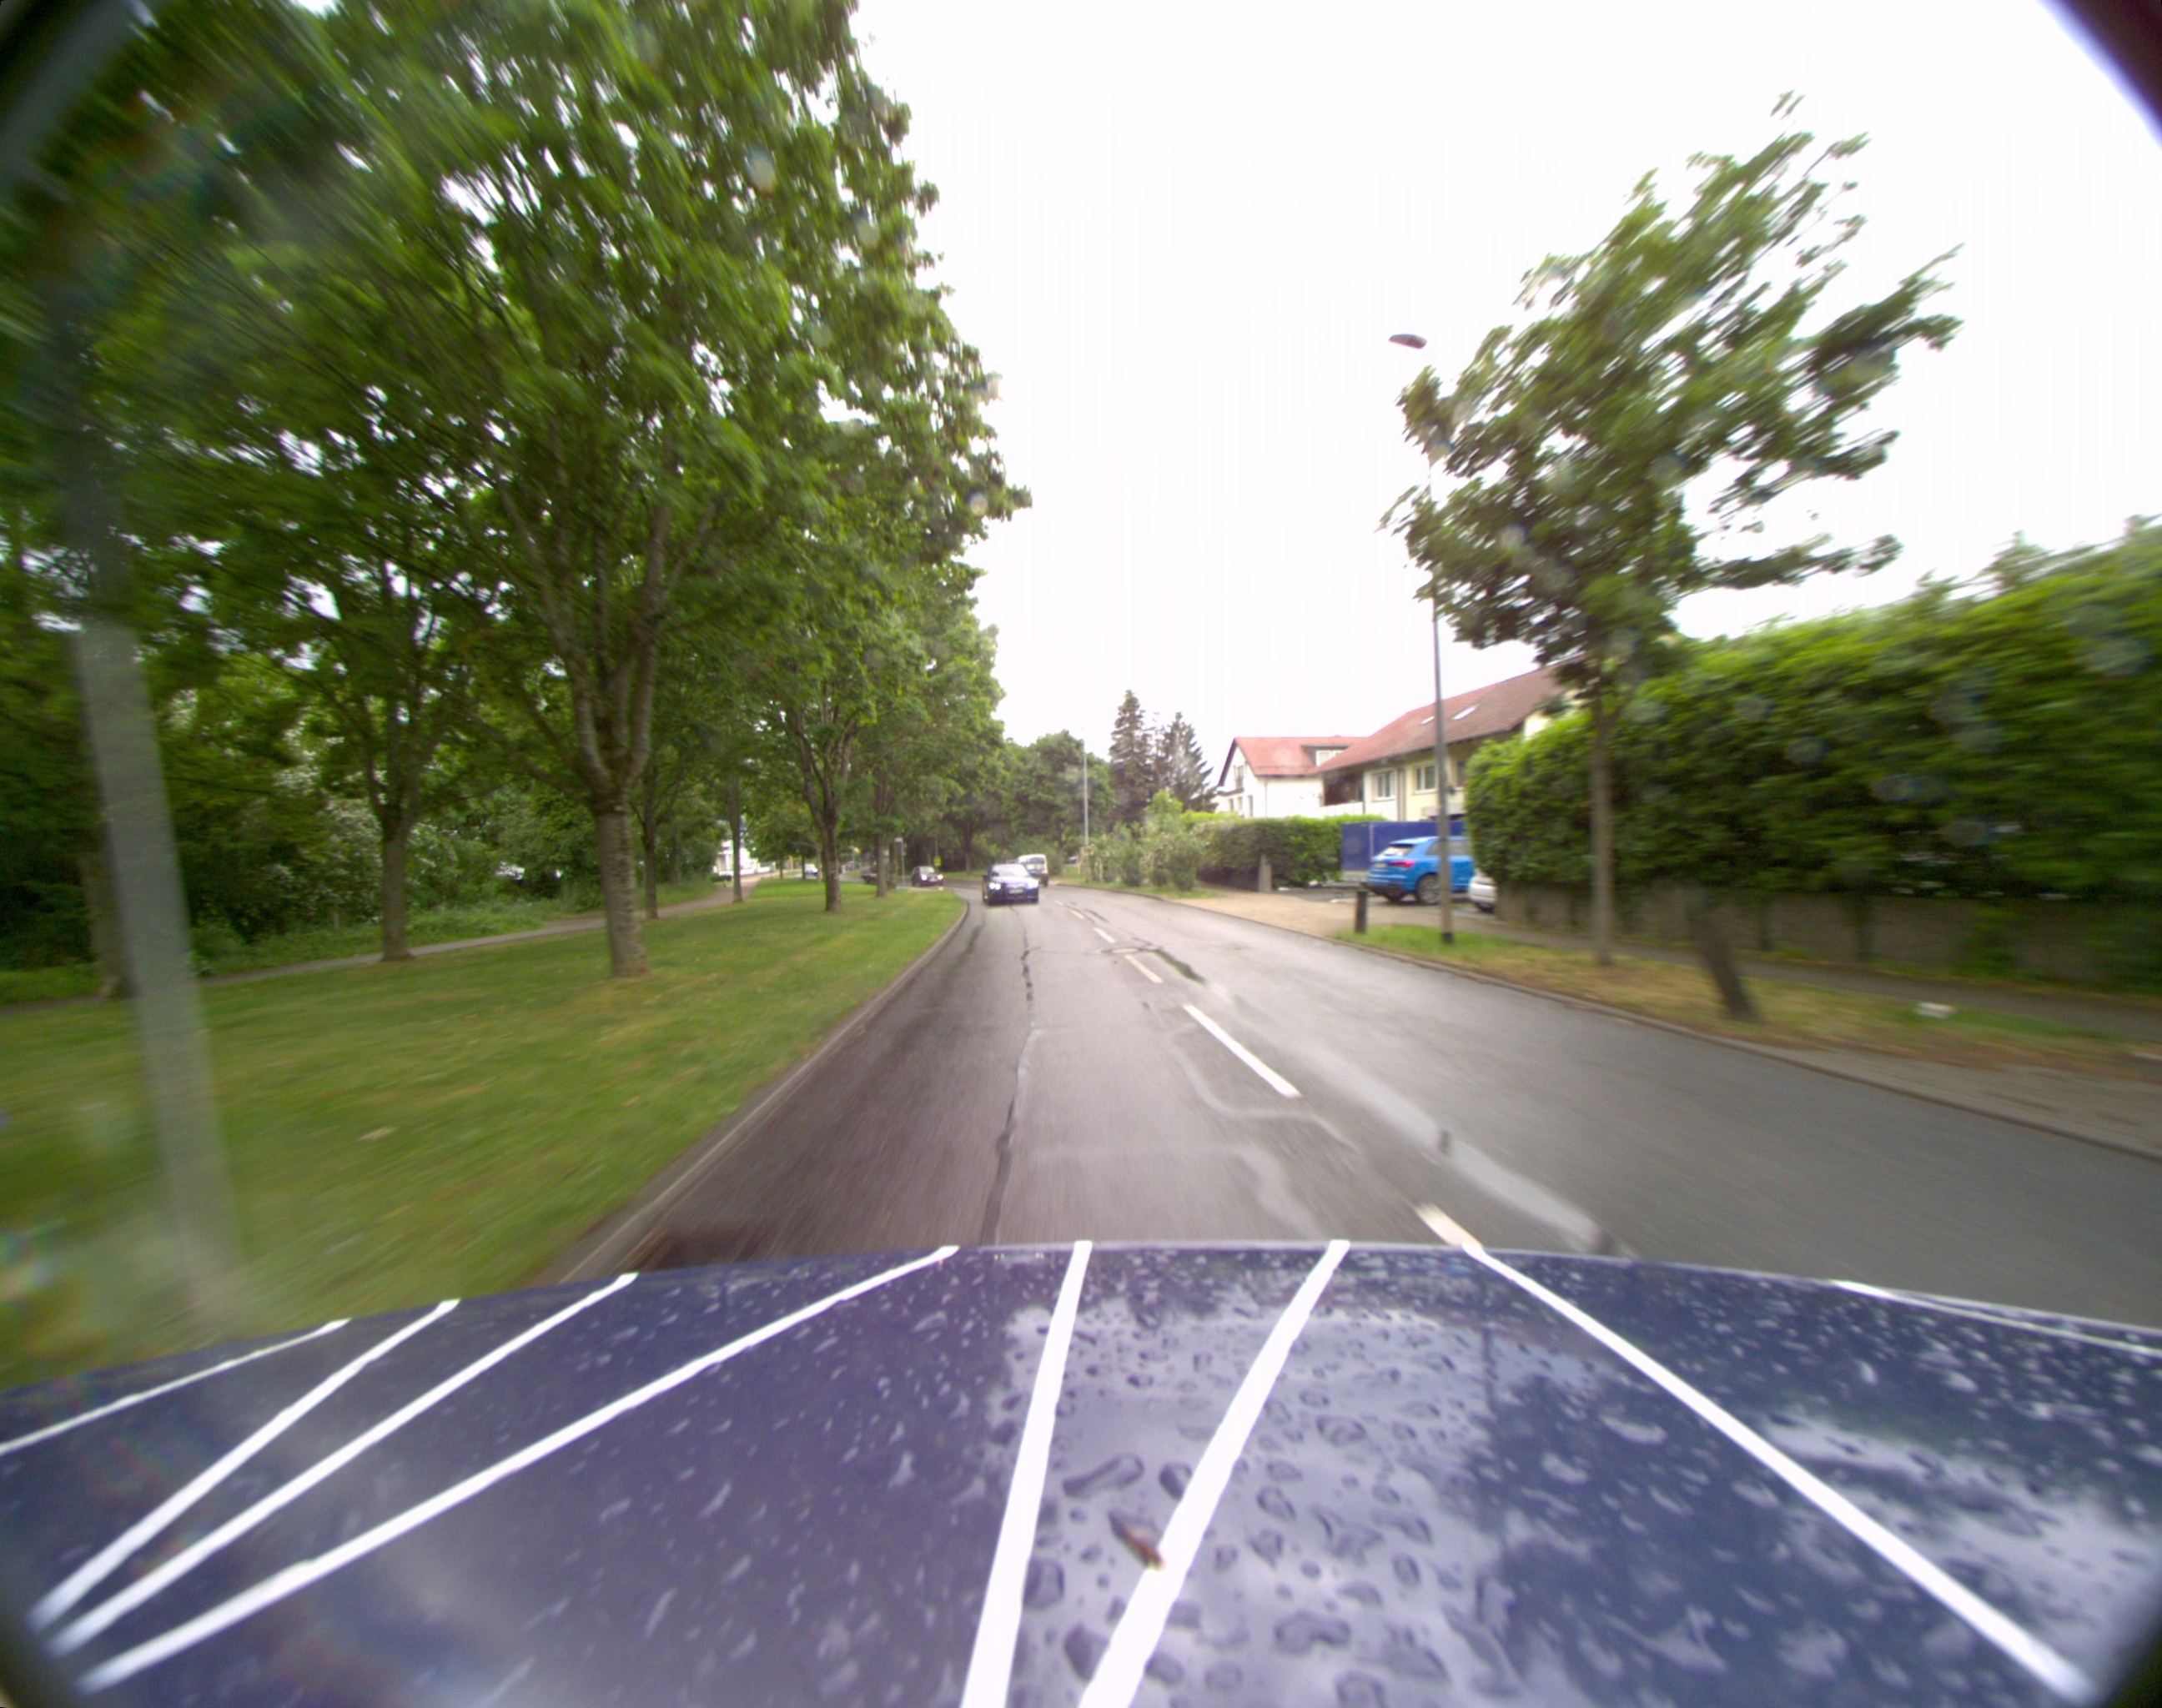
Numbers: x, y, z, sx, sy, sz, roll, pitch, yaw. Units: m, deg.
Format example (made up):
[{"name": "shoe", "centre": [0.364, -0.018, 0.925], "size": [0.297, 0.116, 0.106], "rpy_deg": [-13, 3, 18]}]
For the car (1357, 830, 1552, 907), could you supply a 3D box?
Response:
[{"name": "car", "centre": [9.069, 0.323, 18.606], "size": [3.863, 1.577, 1.817], "rpy_deg": [-3, 1, -7]}]

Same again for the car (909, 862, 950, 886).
[{"name": "car", "centre": [-11.339, 1.496, 56.642], "size": [2.002, 1.606, 3.992], "rpy_deg": [-3, 1, -25]}]

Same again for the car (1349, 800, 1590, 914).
[{"name": "car", "centre": [7.877, 0.033, 15.619], "size": [3.999, 2.002, 1.850], "rpy_deg": [-3, 1, -7]}]

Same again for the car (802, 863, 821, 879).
[{"name": "car", "centre": [-36.381, 2.275, 102.525], "size": [2.002, 2.002, 3.992], "rpy_deg": [-3, 1, -25]}]

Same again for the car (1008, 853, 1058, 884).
[{"name": "car", "centre": [-2.847, 0.830, 44.418], "size": [2.001, 1.606, 3.994], "rpy_deg": [-3, 1, -17]}]

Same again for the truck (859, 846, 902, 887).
[{"name": "truck", "centre": [-15.800, 0.975, 59.696], "size": [2.150, 3.028, 5.157], "rpy_deg": [-3, 1, -26]}]

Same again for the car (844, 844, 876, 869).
[{"name": "car", "centre": [-19.248, 0.191, 66.053], "size": [2.002, 2.002, 3.992], "rpy_deg": [-3, 1, -25]}]

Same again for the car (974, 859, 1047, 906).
[{"name": "car", "centre": [-2.776, 1.014, 28.947], "size": [1.967, 1.529, 4.049], "rpy_deg": [-3, 1, -16]}]

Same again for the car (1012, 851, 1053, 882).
[{"name": "car", "centre": [-3.577, 0.902, 55.641], "size": [2.001, 2.077, 3.994], "rpy_deg": [-3, 1, -17]}]
